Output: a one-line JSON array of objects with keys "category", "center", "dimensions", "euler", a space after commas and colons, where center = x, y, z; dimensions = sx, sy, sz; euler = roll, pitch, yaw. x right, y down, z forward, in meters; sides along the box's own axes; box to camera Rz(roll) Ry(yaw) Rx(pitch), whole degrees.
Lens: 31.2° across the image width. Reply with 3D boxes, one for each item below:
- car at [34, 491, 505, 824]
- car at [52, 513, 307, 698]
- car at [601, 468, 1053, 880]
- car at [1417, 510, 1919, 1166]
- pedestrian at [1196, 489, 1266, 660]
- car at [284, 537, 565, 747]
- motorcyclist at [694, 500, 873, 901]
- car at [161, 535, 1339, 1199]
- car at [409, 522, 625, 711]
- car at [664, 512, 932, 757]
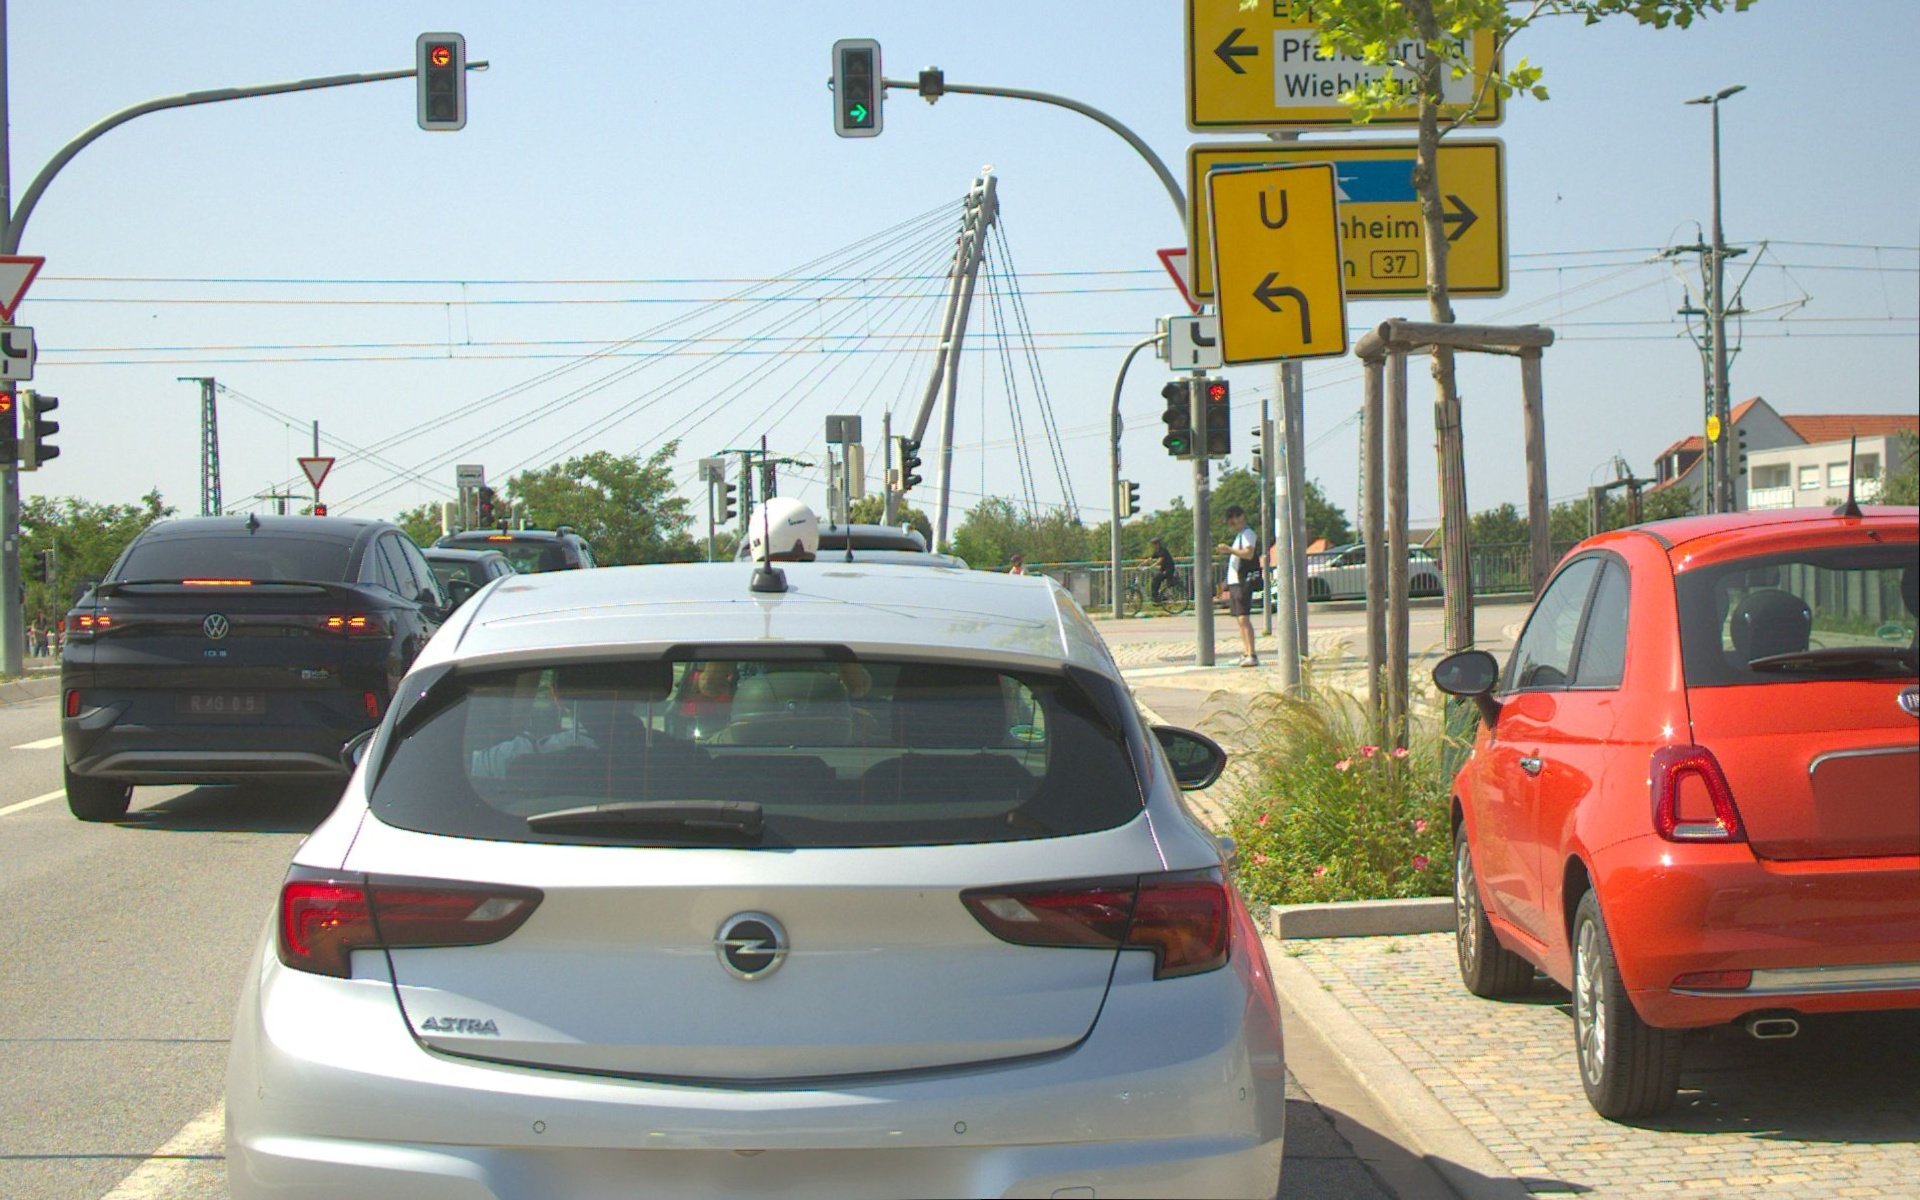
[{"category": "car", "center": [-3.731, 0.264, 19.316], "dimensions": [1.801, 1.636, 4.366], "euler": [1, 1, -1]}, {"category": "car", "center": [-6.967, 0.027, 30.980], "dimensions": [1.597, 1.542, 3.763], "euler": [1, 1, -3]}, {"category": "car", "center": [-0.619, 0.272, 17.548], "dimensions": [1.993, 1.814, 4.402], "euler": [1, 1, -1]}, {"category": "car", "center": [2.334, 0.517, 9.735], "dimensions": [1.610, 1.491, 3.352], "euler": [-2, 1, 1]}, {"category": "pedestrian", "center": [2.944, -0.282, 37.399], "dimensions": [0.647, 1.830, 0.798], "euler": [-1, 0, -2]}, {"category": "car", "center": [-3.916, 0.272, 25.643], "dimensions": [1.575, 1.429, 3.786], "euler": [1, 1, -1]}, {"category": "motorcyclist", "center": [-0.620, 0.344, 12.264], "dimensions": [0.581, 1.384, 0.707], "euler": [1, 0, 0]}, {"category": "car", "center": [-0.418, 0.630, 7.129], "dimensions": [1.742, 1.473, 4.001], "euler": [1, 1, -3]}, {"category": "car", "center": [-4.012, 0.124, 31.604], "dimensions": [1.649, 1.610, 3.821], "euler": [1, 1, -3]}, {"category": "car", "center": [-1.073, 0.175, 24.447], "dimensions": [1.724, 1.558, 4.000], "euler": [1, 2, 0]}]
